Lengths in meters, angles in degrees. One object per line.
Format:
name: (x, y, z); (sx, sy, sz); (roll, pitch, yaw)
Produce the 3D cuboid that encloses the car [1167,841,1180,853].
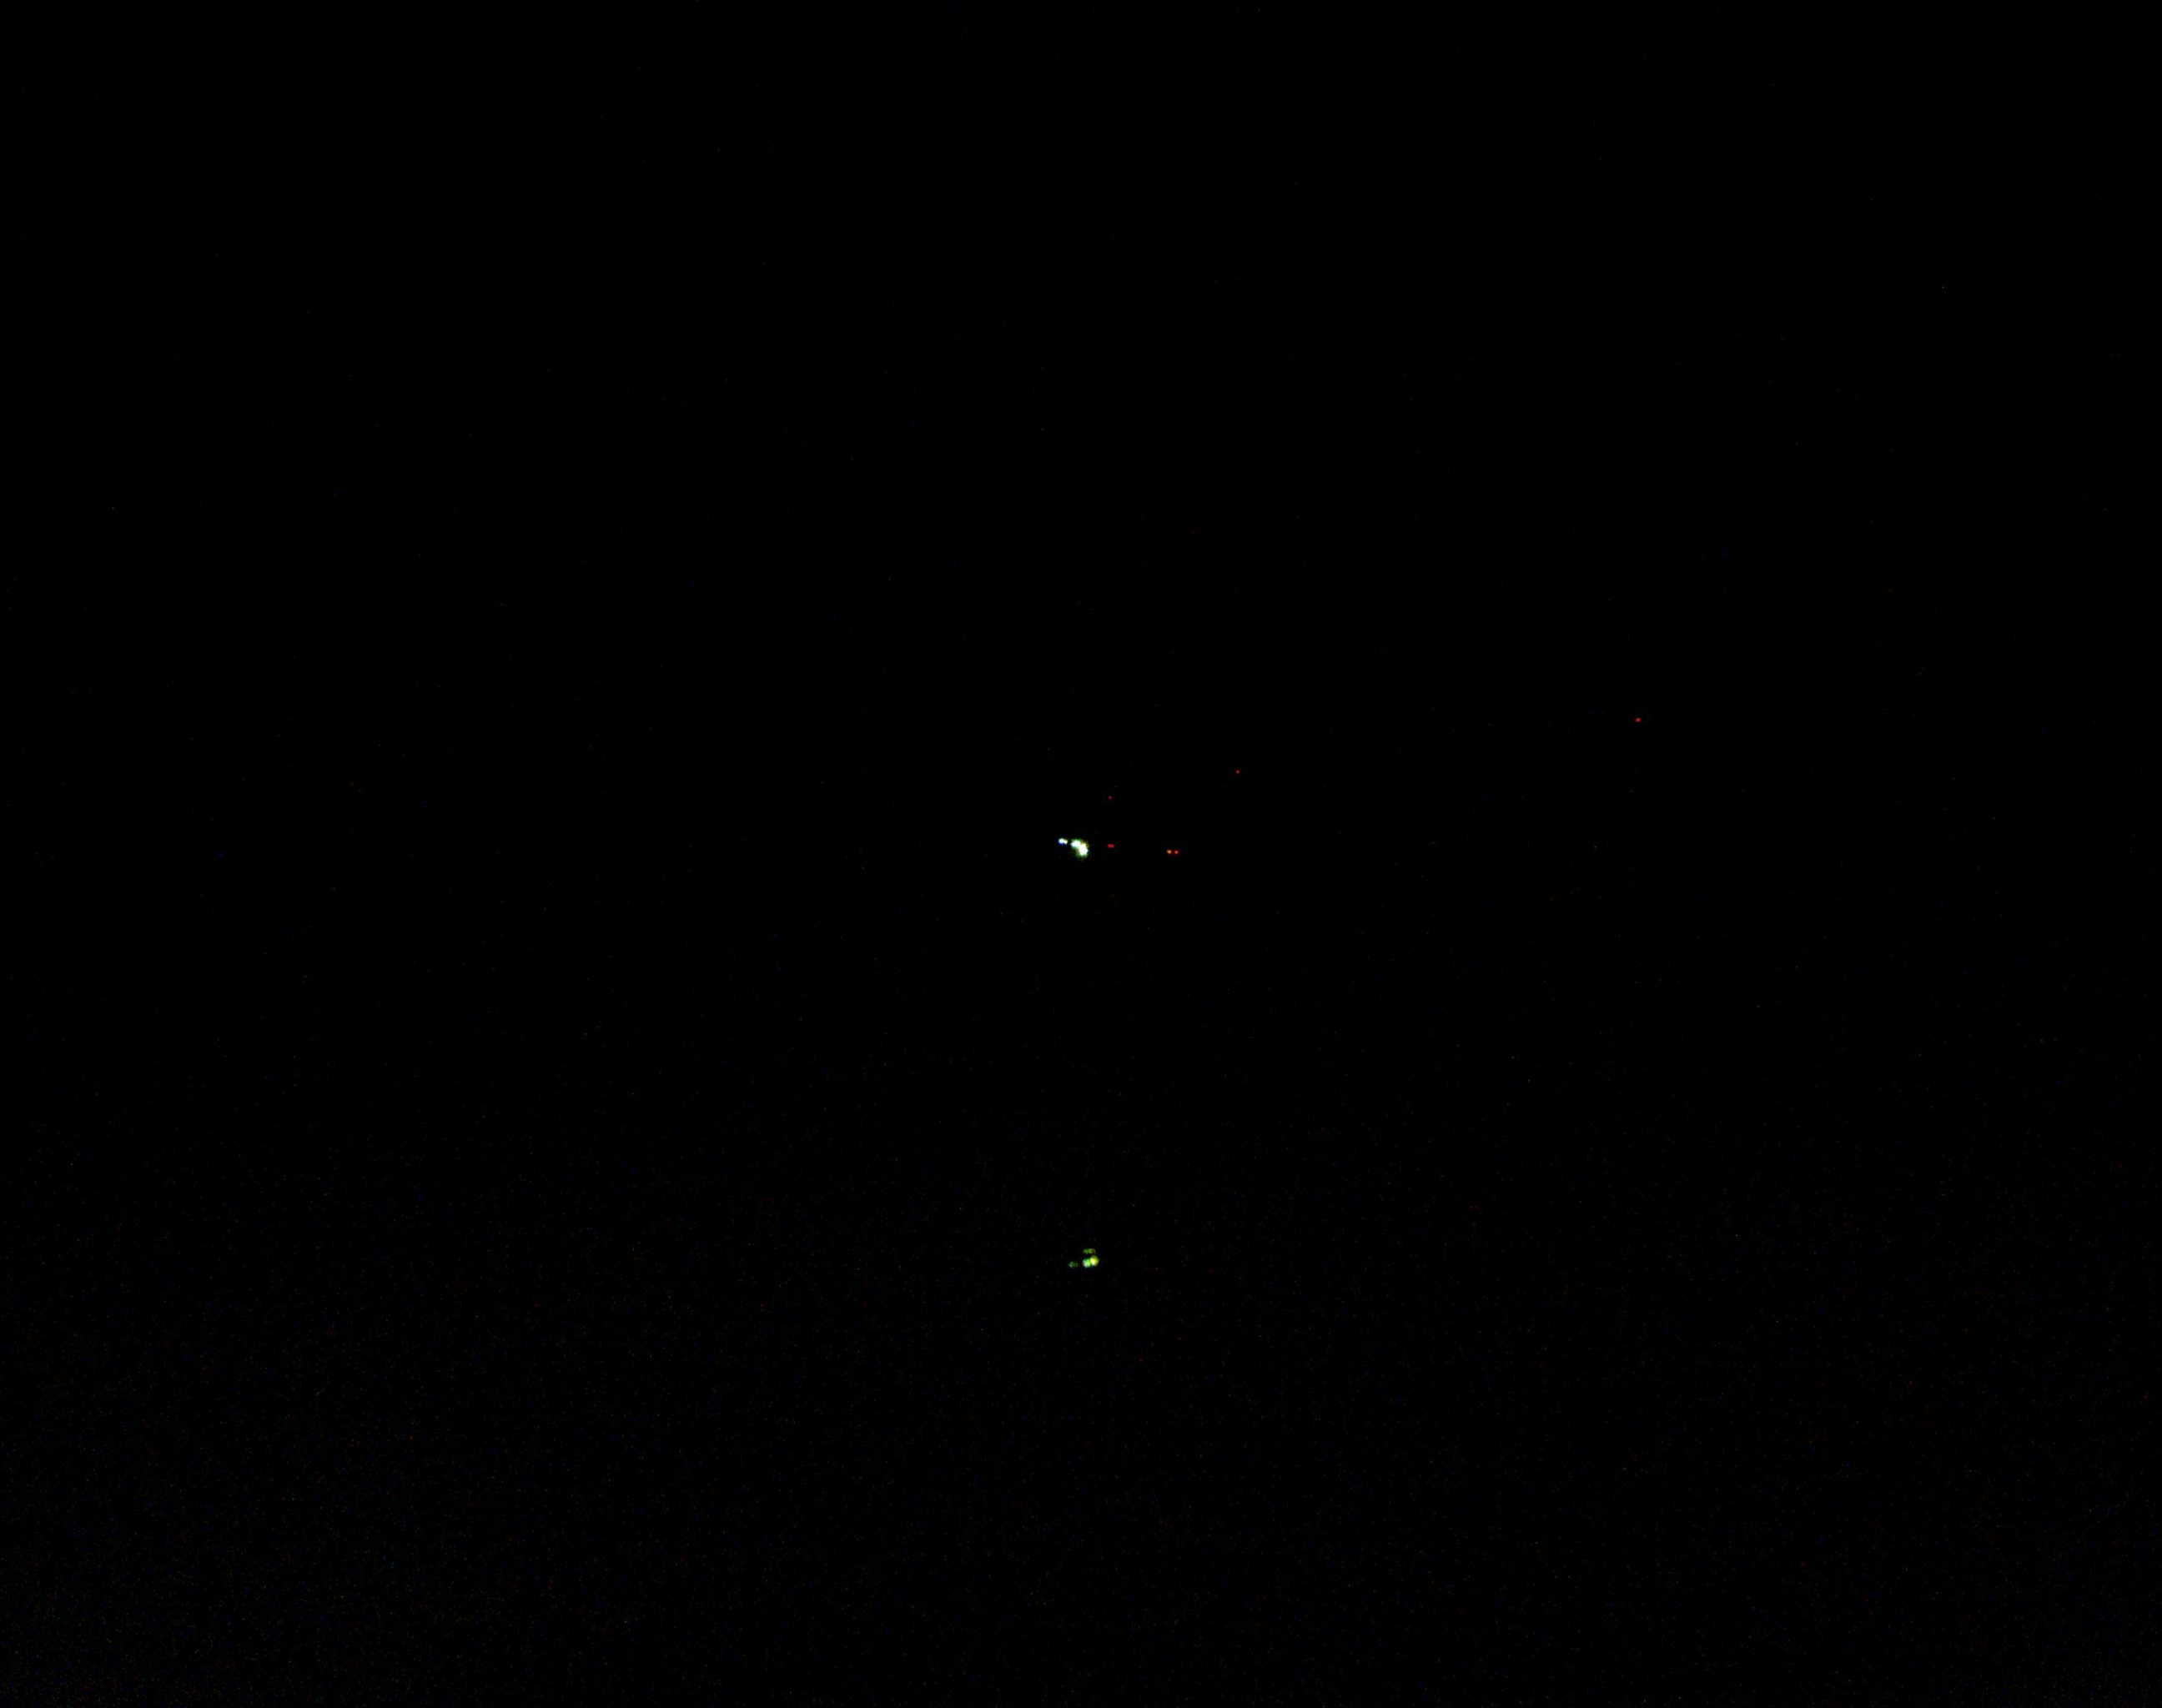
car: (25.340, -1.968, 208.229); (2.853, 2.921, 6.600); (-2, 1, 1)
